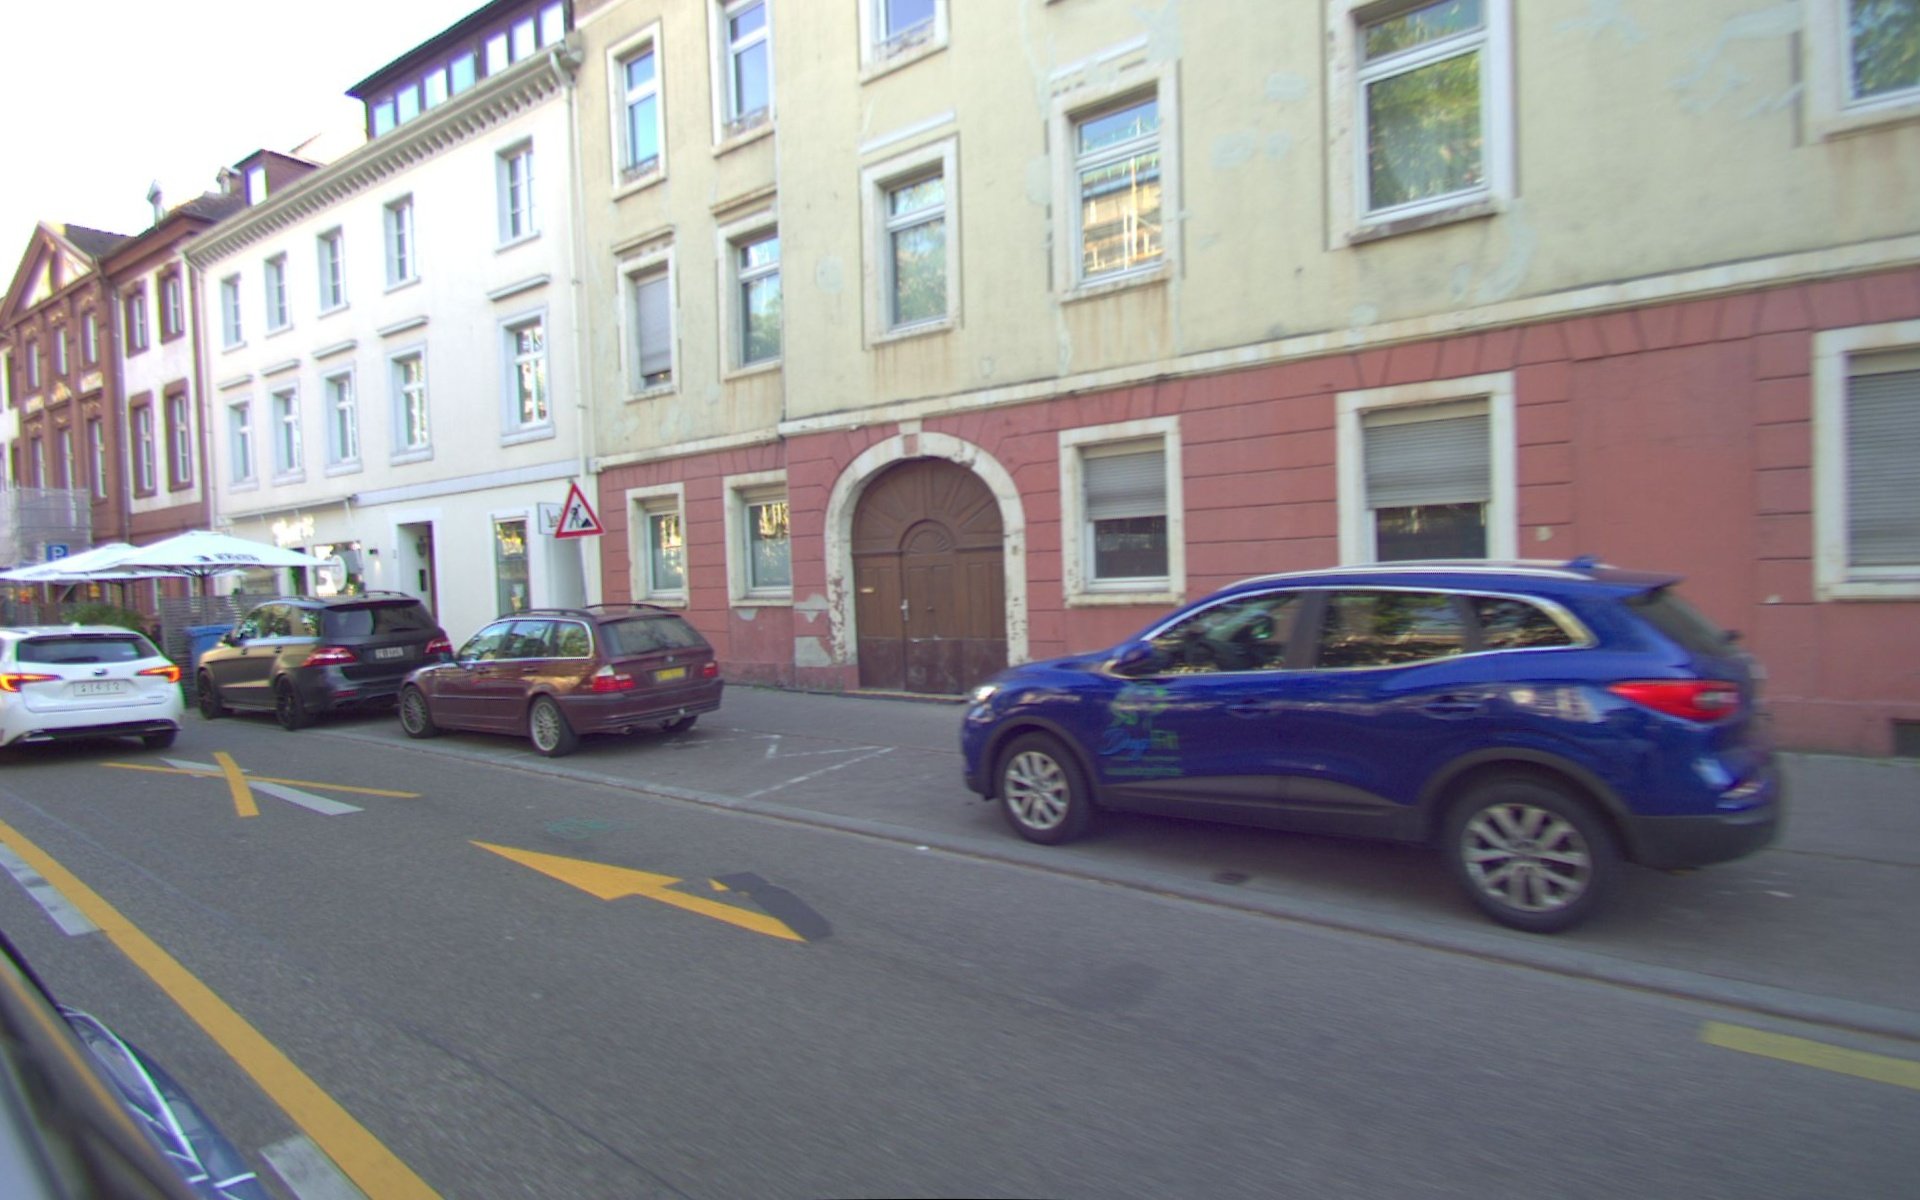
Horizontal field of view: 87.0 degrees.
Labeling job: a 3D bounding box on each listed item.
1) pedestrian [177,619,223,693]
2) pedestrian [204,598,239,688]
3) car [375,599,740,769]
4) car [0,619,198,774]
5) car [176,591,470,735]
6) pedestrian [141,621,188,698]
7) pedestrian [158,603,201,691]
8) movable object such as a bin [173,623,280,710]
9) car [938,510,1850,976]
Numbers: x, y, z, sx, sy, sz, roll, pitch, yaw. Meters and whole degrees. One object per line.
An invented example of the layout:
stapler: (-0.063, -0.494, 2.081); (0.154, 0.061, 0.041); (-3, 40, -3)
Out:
pedestrian: (-14.814, 1.079, 19.734); (0.486, 1.401, 0.519); (-2, 1, 31)
pedestrian: (-15.105, 0.863, 20.699); (0.432, 1.788, 0.598); (-3, 1, -43)
car: (-4.541, 0.800, 11.120); (4.420, 1.491, 1.638); (-2, 1, 37)
car: (-10.607, 0.987, 11.640); (4.419, 1.432, 1.720); (-1, 0, 36)
car: (-9.114, 0.799, 14.321); (4.776, 1.692, 1.905); (-2, 1, 37)
pedestrian: (-15.125, 1.121, 19.241); (0.486, 1.401, 0.519); (-2, 1, 31)
pedestrian: (-16.176, 0.962, 20.979); (0.439, 1.788, 0.589); (-1, 1, 43)
movable object such as a bin: (-12.089, 1.067, 16.699); (0.929, 1.305, 1.204); (-1, 1, 39)
car: (2.142, 0.530, 5.792); (4.344, 1.680, 1.914); (-1, 1, 40)
